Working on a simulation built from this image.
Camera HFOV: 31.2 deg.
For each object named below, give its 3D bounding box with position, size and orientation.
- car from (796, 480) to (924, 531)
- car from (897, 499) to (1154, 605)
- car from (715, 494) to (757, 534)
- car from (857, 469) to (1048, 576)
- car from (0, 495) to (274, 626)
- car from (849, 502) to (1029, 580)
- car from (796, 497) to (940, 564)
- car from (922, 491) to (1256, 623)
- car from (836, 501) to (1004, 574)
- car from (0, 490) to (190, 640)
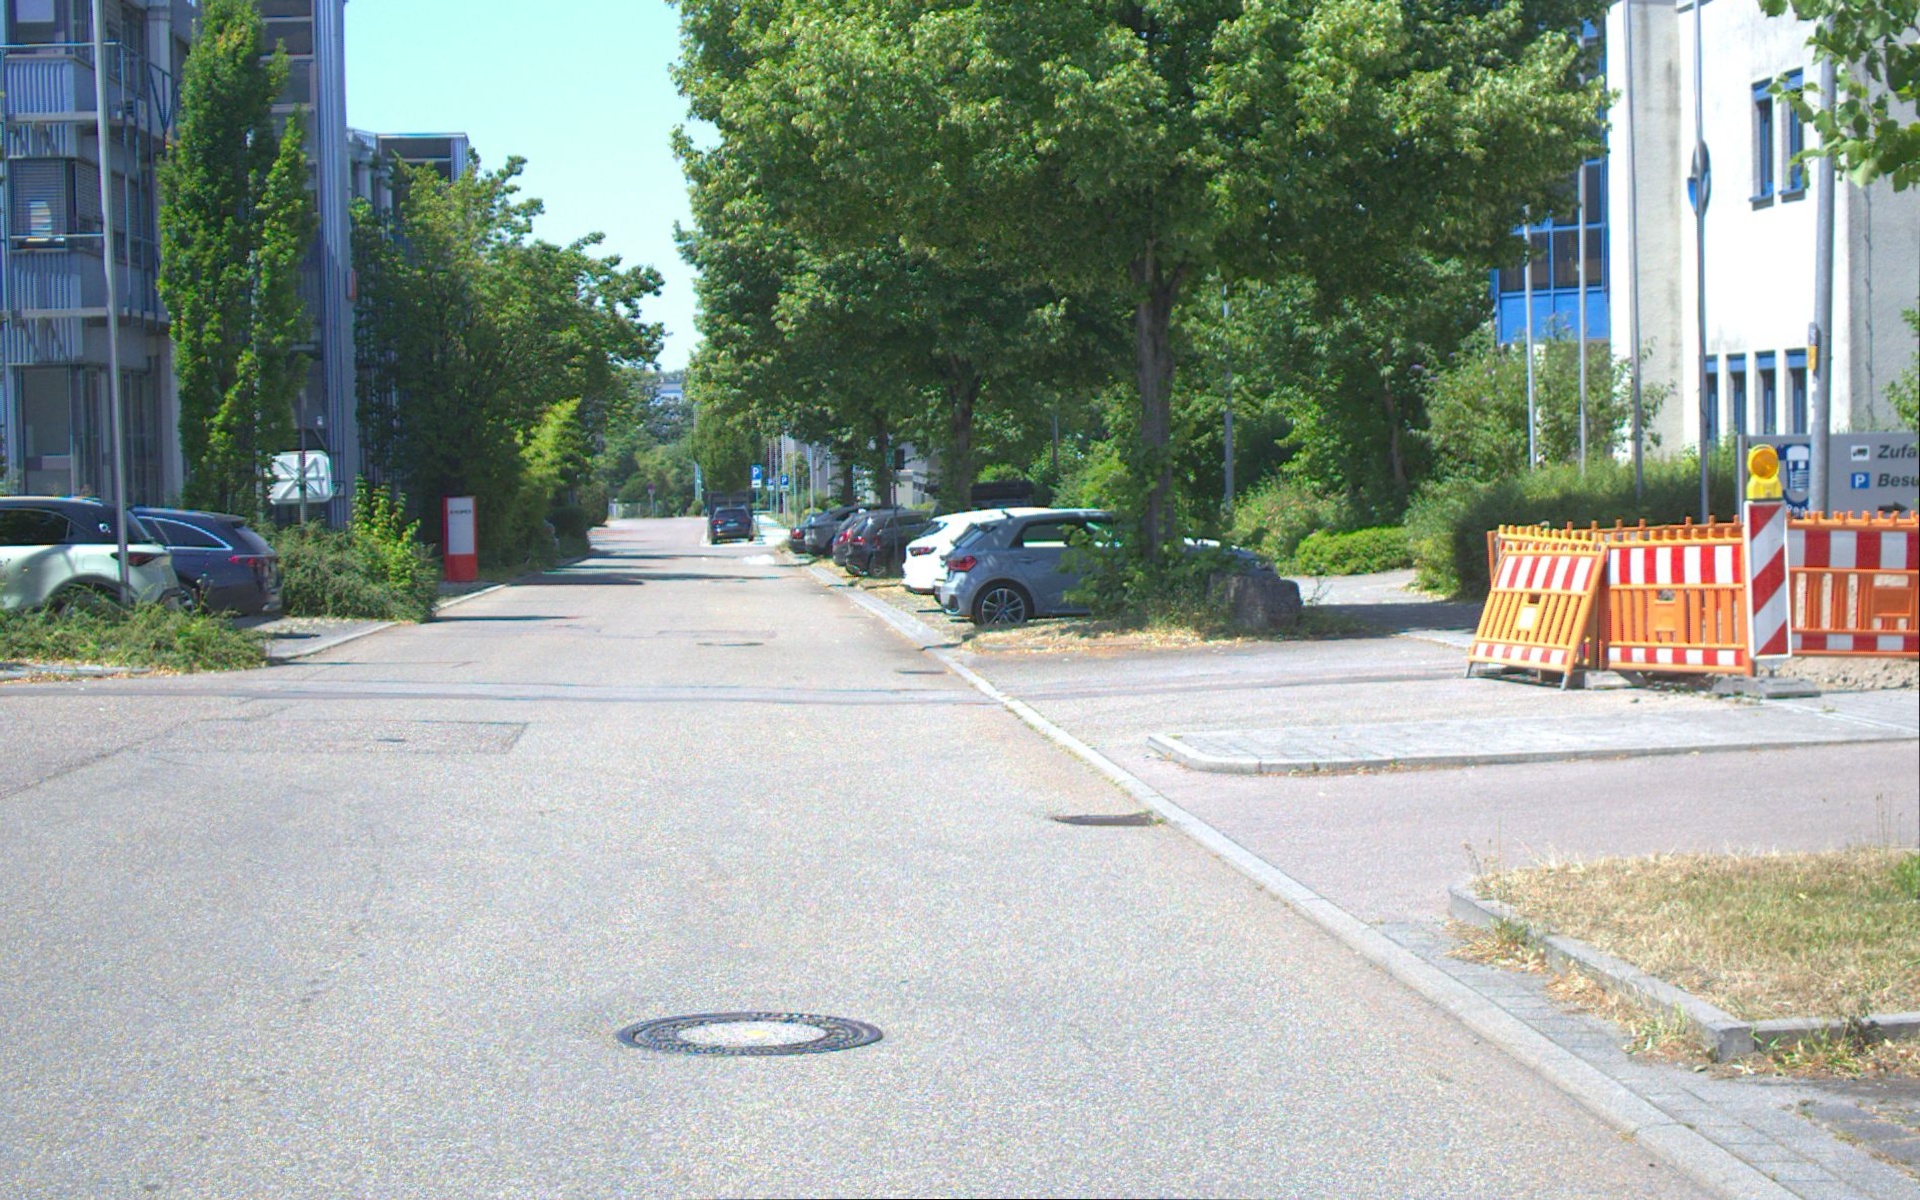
[{"bbox_3d":[-3.279,-3.099,112.337,3.930,1.572,1.768,0,5,-11],"label":"car"},{"bbox_3d":[0.947,-0.716,50.505,3.516,1.350,1.538,-3,2,-8],"label":"car"},{"bbox_3d":[-9.842,-3.766,151.245,1.761,1.749,3.945,0,1,-3],"label":"car"},{"bbox_3d":[-0.170,-1.560,69.259,3.721,2.103,1.814,0,1,-4],"label":"car"},{"bbox_3d":[-9.524,-0.458,39.827,3.057,1.473,1.293,0,1,-10],"label":"car"},{"bbox_3d":[-0.470,-1.248,72.947,3.721,1.621,1.814,0,1,-4],"label":"car"},{"bbox_3d":[-2.677,-2.021,100.042,3.930,1.828,1.768,0,5,-11],"label":"car"},{"bbox_3d":[1.506,-0.520,40.825,3.678,1.350,1.646,-3,2,-8],"label":"car"},{"bbox_3d":[-0.928,-1.425,78.166,3.721,1.621,1.814,0,1,-4],"label":"car"},{"bbox_3d":[-9.983,-0.369,34.924,4.045,1.489,1.729,0,1,-6],"label":"car"}]
